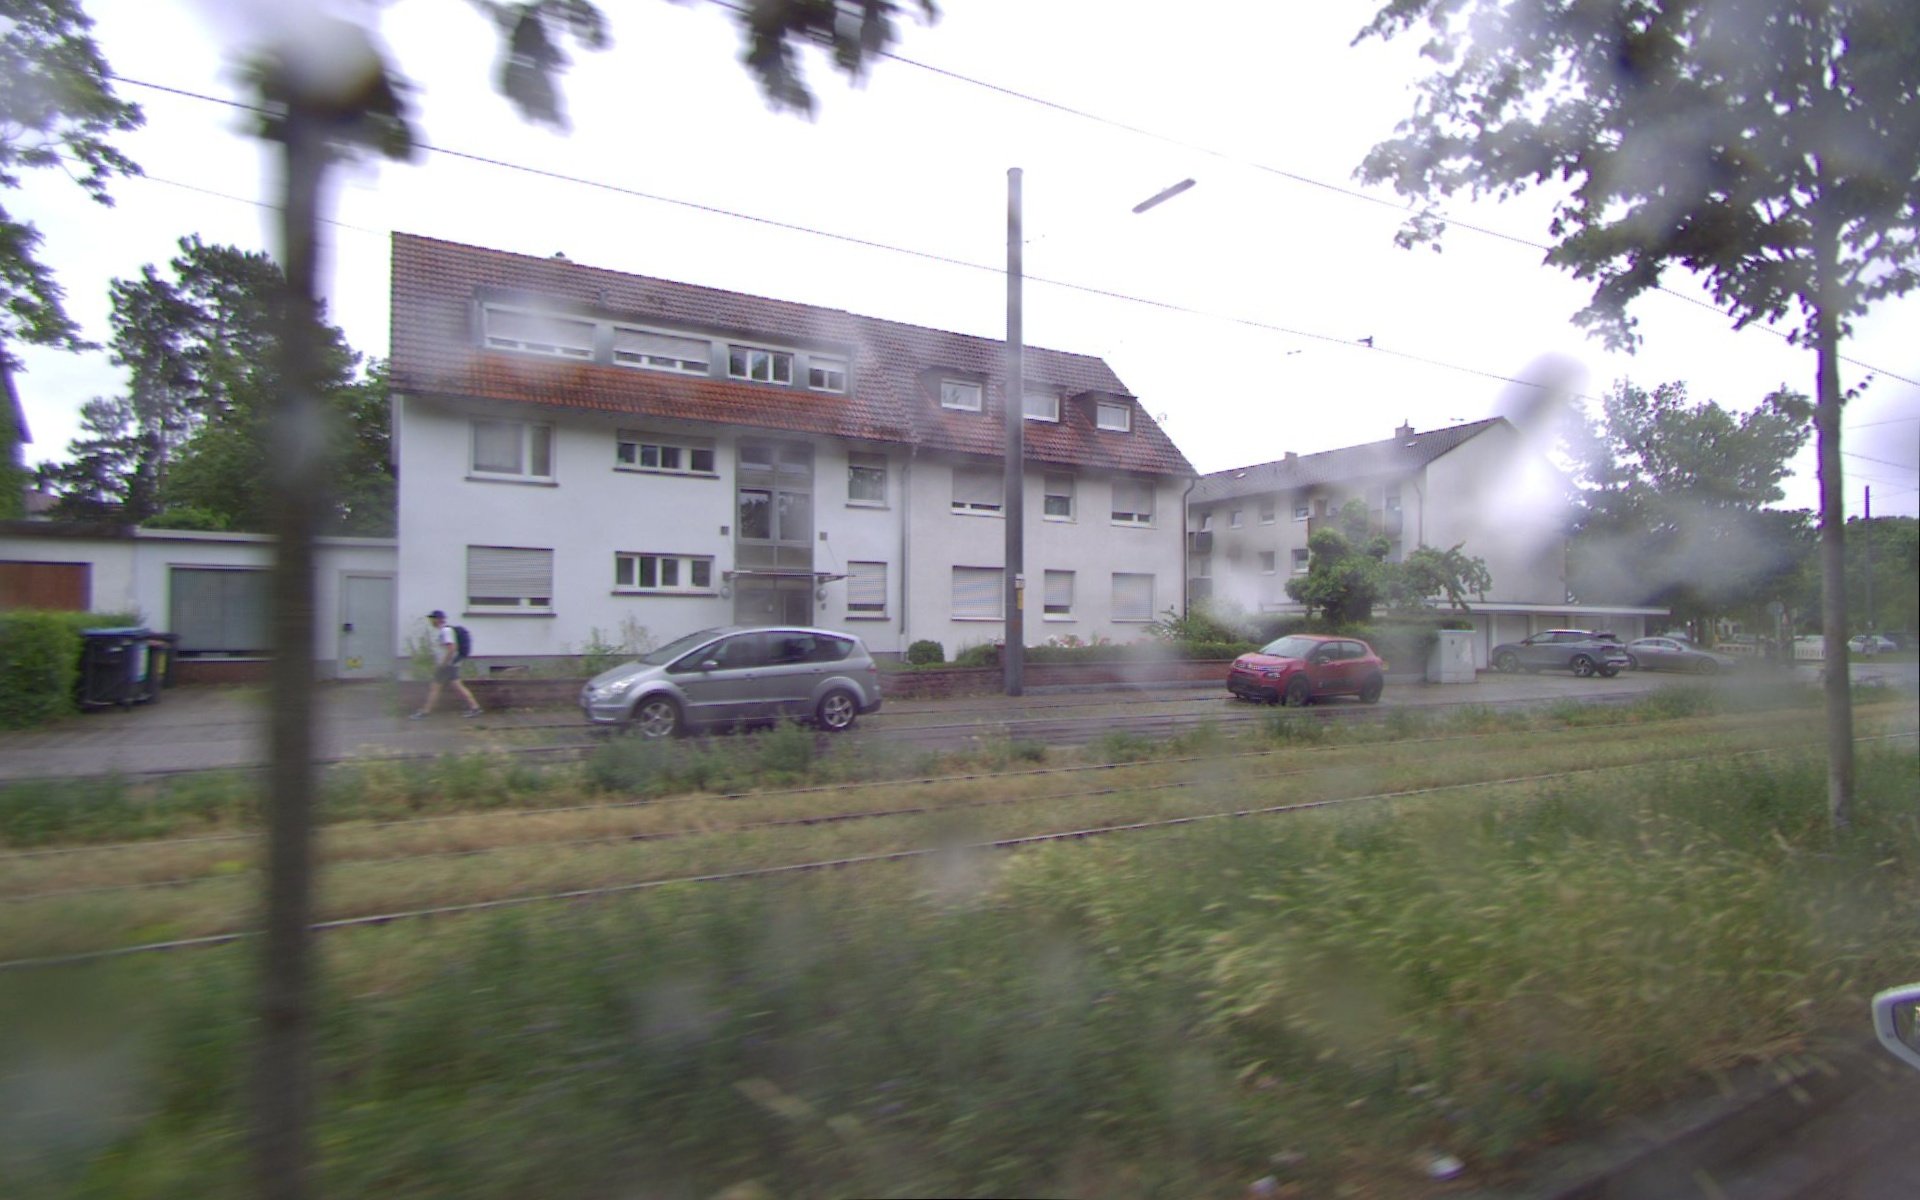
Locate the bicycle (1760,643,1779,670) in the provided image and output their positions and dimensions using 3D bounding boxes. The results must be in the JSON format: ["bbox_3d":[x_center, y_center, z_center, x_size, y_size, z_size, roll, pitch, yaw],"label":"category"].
[{"bbox_3d":[34.016,2.373,42.204,0.474,1.033,1.835,3,1,35],"label":"bicycle"}]

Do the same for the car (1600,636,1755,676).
[{"bbox_3d":[28.457,2.170,40.006,1.825,1.383,4.705,1,-1,-29],"label":"car"}]

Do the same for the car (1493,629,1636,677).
[{"bbox_3d":[21.522,1.841,35.908,1.871,1.597,3.968,1,-2,-30],"label":"car"}]

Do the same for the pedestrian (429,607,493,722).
[{"bbox_3d":[-8.035,1.013,16.166,0.859,1.791,0.595,1,0,-30],"label":"pedestrian"}]

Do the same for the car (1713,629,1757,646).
[{"bbox_3d":[58.821,2.870,76.291,1.633,1.265,3.742,0,-2,22],"label":"car"}]

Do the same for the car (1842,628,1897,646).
[{"bbox_3d":[65.836,2.706,72.771,1.632,1.265,3.743,0,-2,19],"label":"car"}]

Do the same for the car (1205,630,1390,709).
[{"bbox_3d":[7.704,1.517,22.870,3.925,1.568,1.833,1,1,-29],"label":"car"}]

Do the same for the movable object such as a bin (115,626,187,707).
[{"bbox_3d":[-13.926,1.116,17.324,0.730,1.315,1.249,1,0,-29],"label":"movable object such as a bin"}]

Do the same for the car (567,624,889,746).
[{"bbox_3d":[-3.642,1.240,15.944,4.627,1.635,1.985,1,0,-30],"label":"car"}]

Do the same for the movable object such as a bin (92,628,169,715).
[{"bbox_3d":[-13.352,1.127,16.197,0.730,1.315,1.179,1,0,-29],"label":"movable object such as a bin"}]
